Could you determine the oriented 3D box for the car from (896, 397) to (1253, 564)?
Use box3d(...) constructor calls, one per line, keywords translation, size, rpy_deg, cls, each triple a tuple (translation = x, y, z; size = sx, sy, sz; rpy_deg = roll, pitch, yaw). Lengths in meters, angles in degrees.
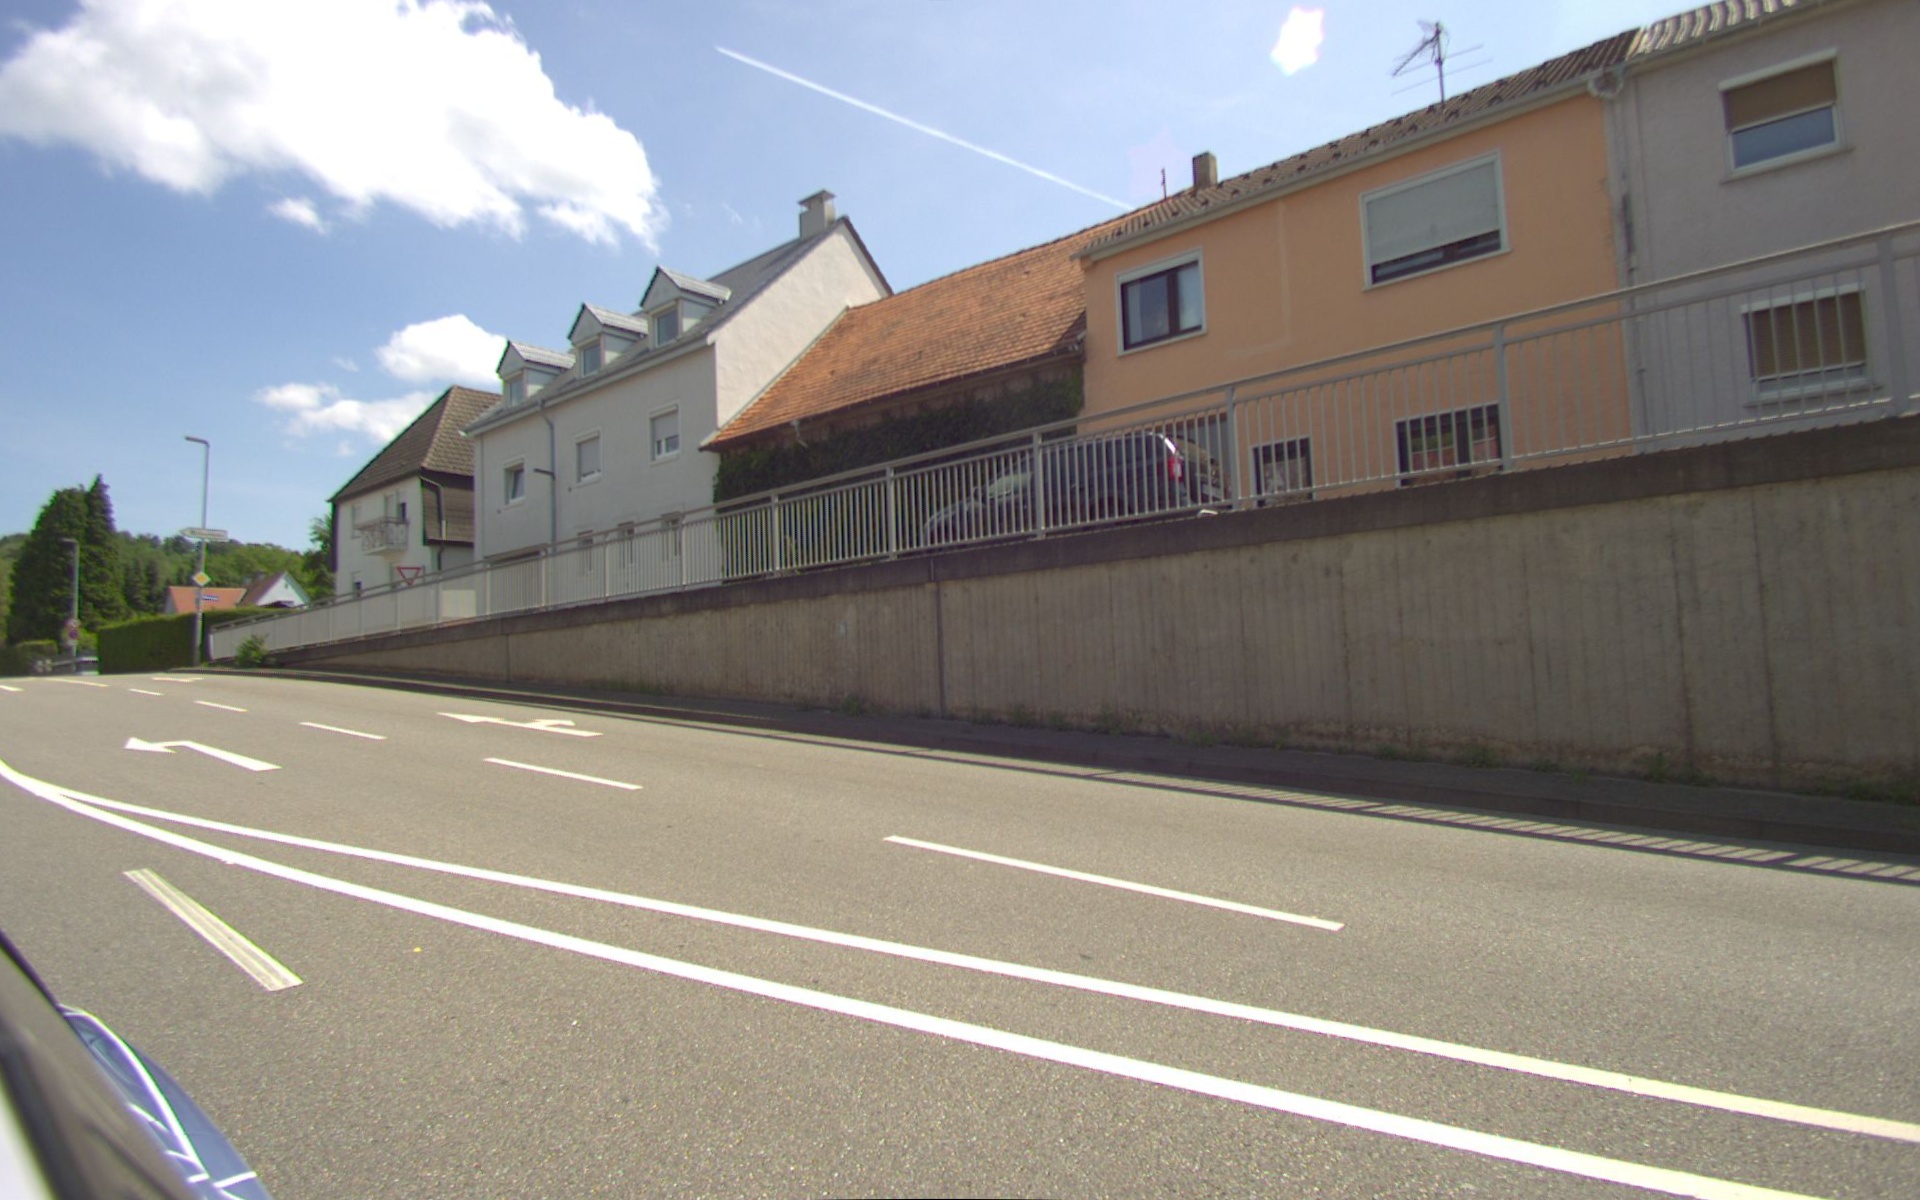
box3d(translation=(1.378, -1.402, 13.309), size=(4.389, 1.416, 1.767), rpy_deg=(-5, -4, 39), cls="car")
